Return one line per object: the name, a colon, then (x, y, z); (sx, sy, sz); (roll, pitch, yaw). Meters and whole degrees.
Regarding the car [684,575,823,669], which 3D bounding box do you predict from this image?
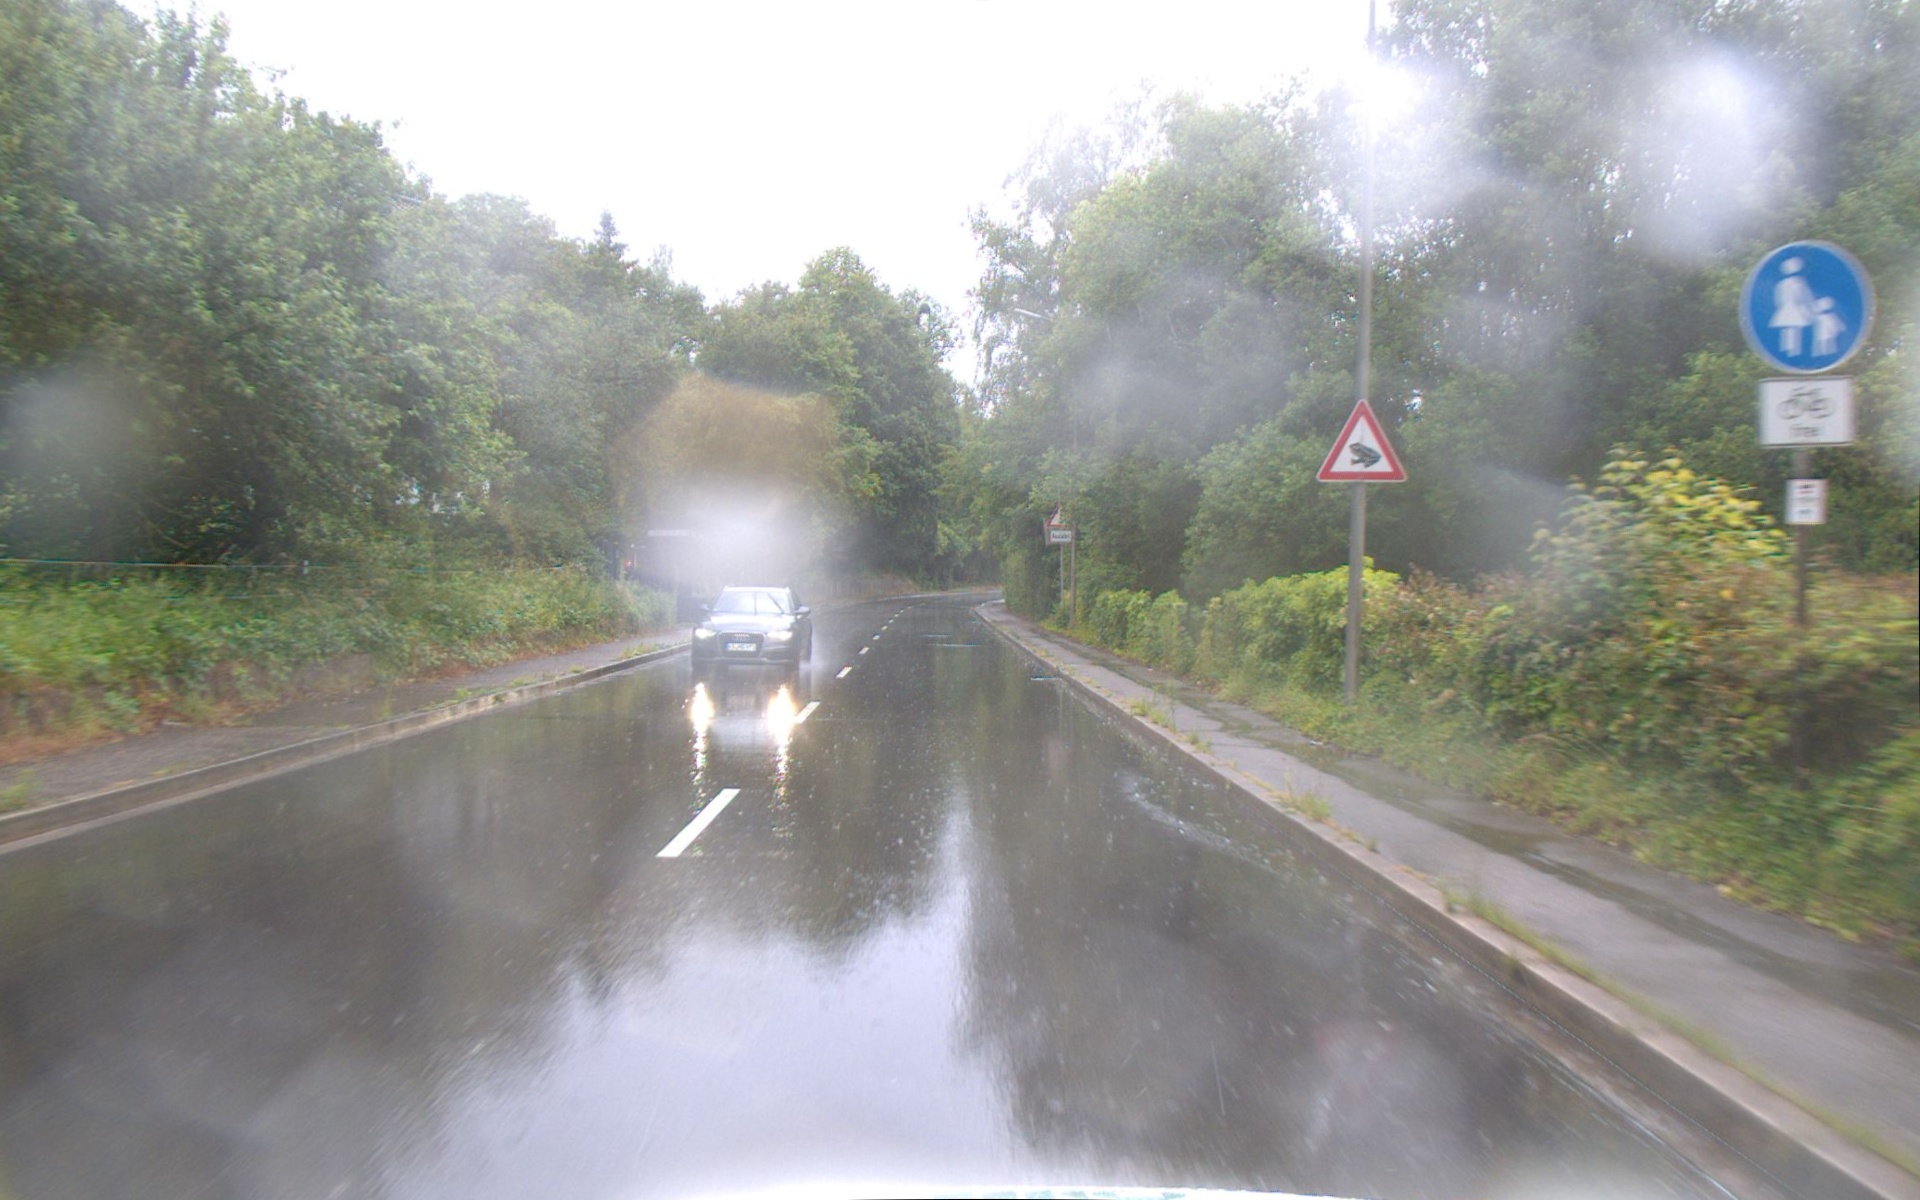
car: (-3.579, 0.334, 29.405); (1.953, 1.479, 4.427); (1, 1, -1)
